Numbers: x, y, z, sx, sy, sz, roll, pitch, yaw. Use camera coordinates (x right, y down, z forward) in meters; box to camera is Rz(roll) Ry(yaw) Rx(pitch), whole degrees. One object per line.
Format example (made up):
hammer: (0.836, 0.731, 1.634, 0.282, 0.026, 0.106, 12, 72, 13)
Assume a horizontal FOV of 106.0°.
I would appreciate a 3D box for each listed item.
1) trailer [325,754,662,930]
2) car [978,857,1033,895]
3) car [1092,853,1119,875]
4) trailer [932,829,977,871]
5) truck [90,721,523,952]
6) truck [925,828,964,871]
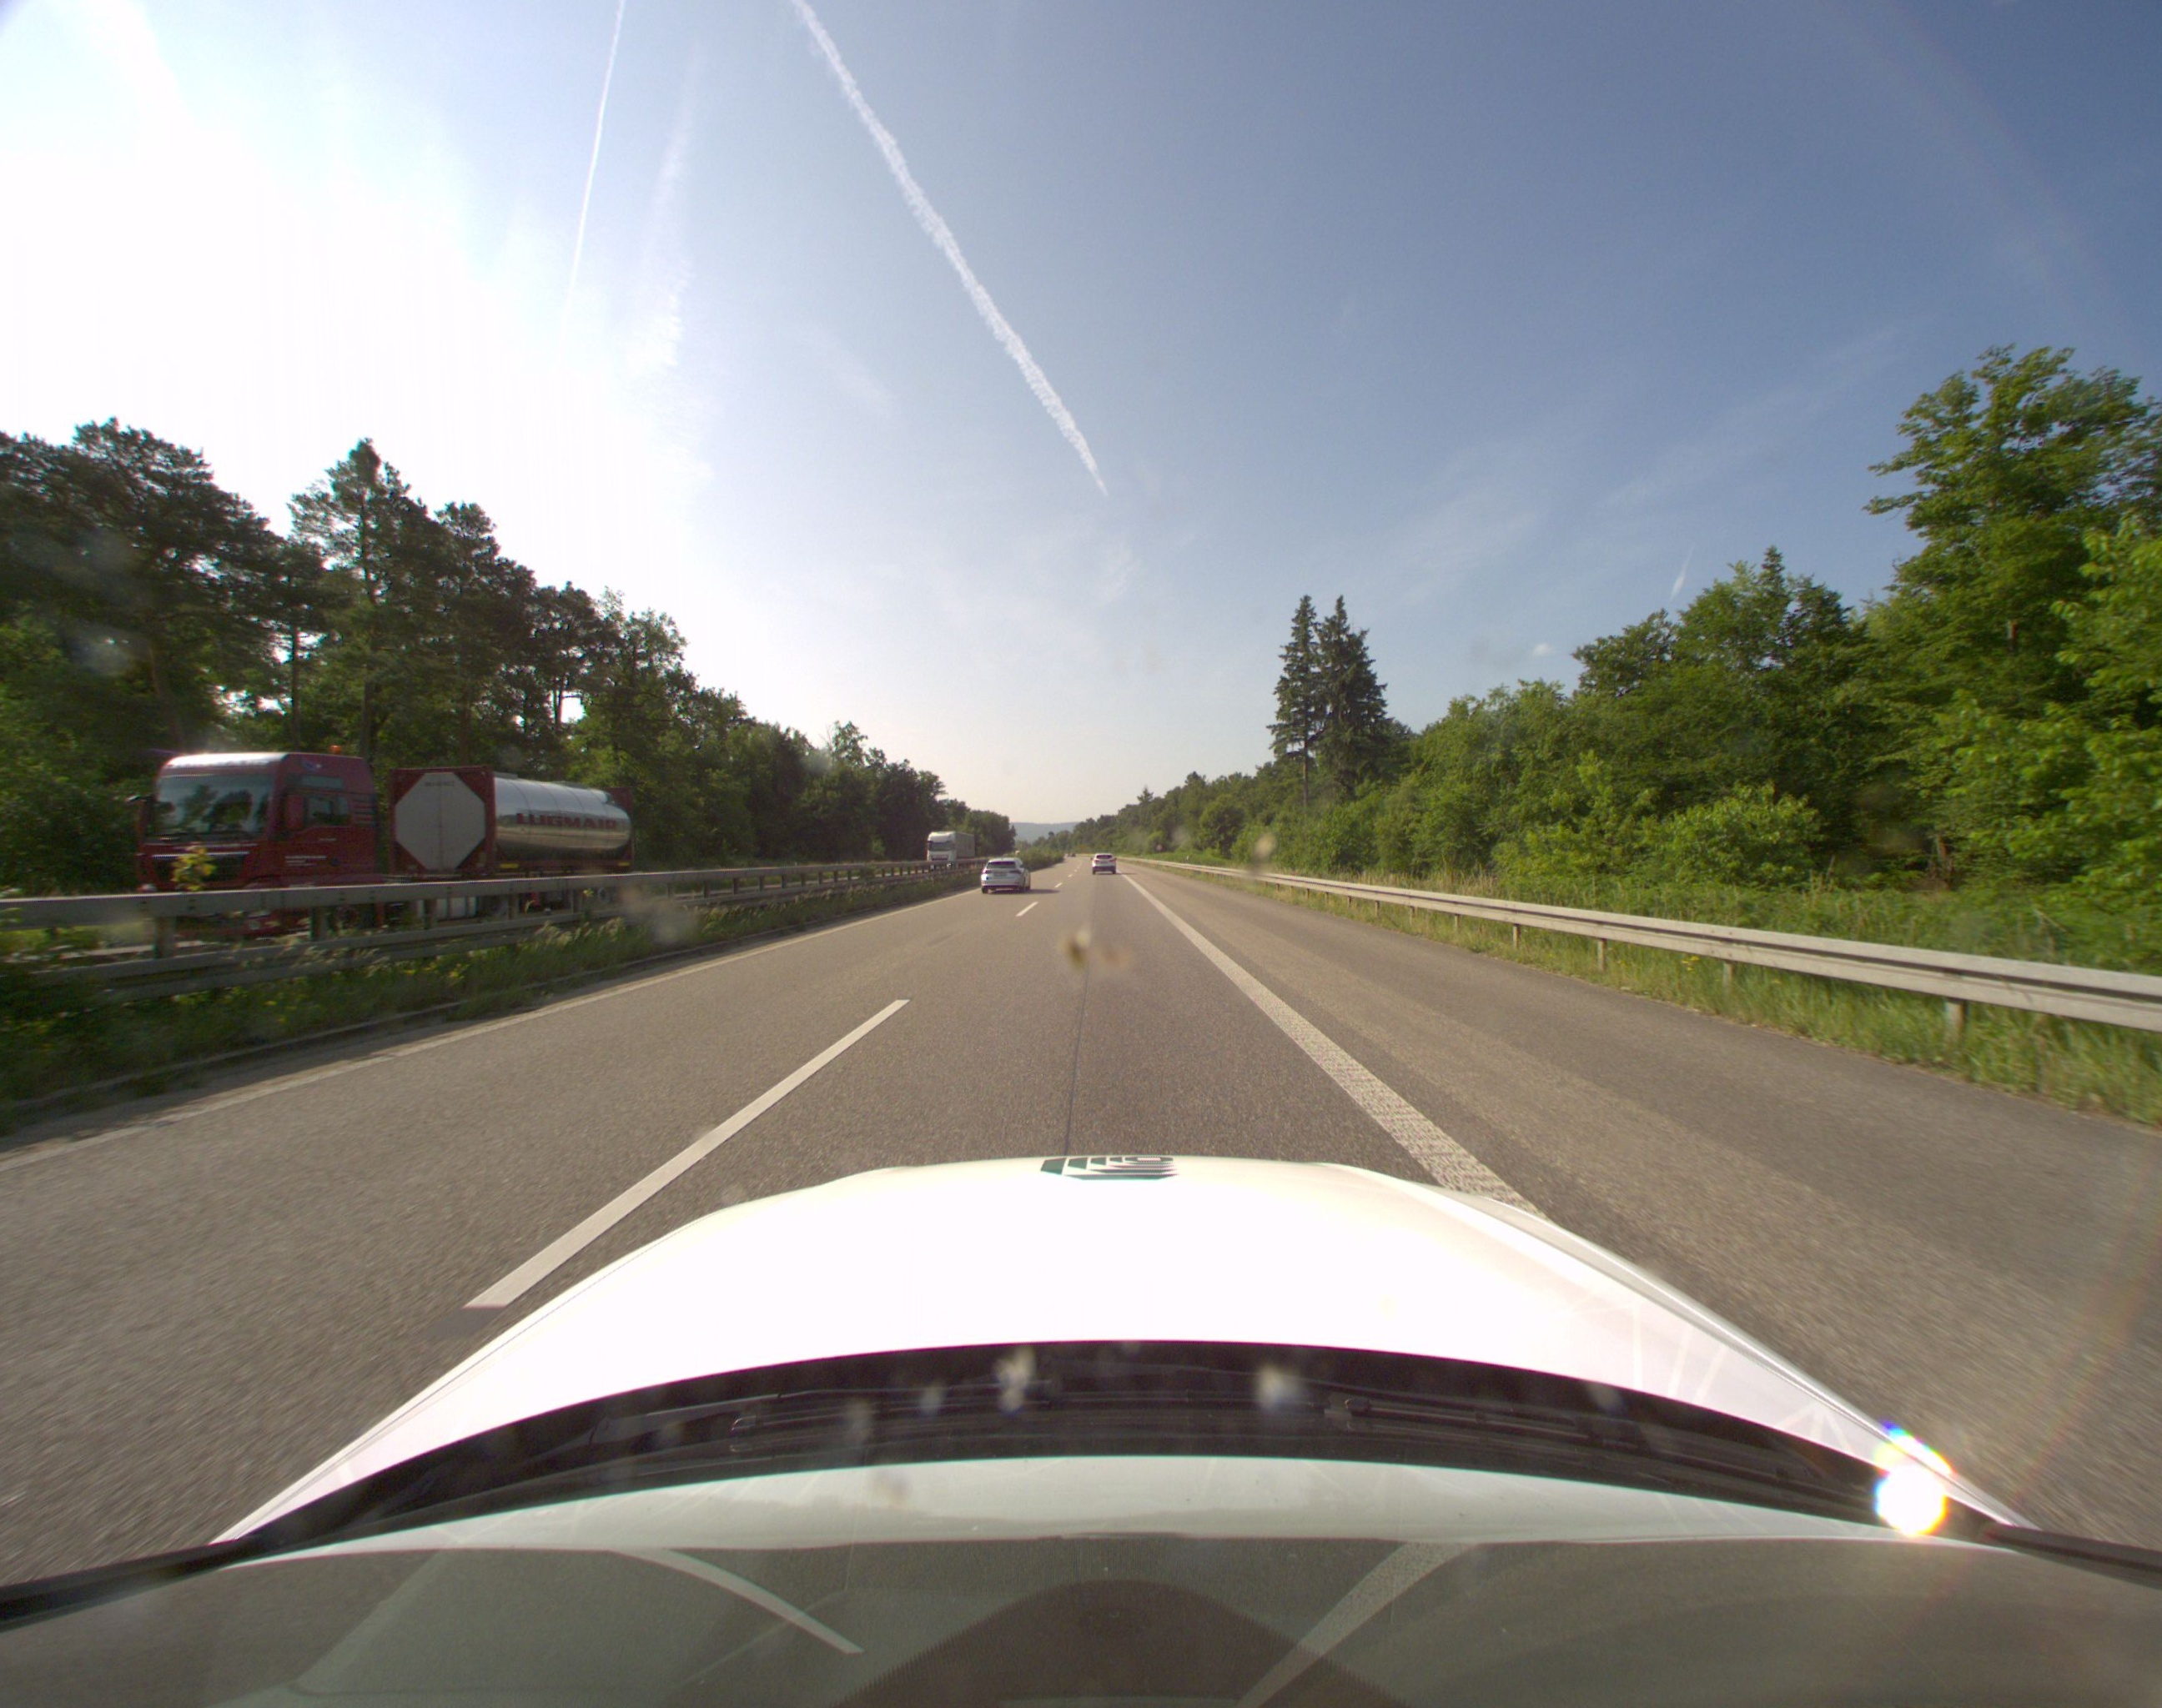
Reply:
trailer: (-15.707, -0.242, 22.984, 3.283, 4.039, 8.375, -1, 0, 1)
car: (-3.147, 0.876, 34.992, 1.786, 1.438, 5.279, -2, 0, 1)
car: (1.856, 0.747, 62.475, 1.868, 1.586, 3.998, 1, 0, -1)
trailer: (-13.871, -0.425, 90.598, 2.823, 4.208, 12.411, -2, 0, 0)
truck: (-15.828, -0.290, 17.518, 3.255, 4.039, 6.234, -1, -1, 1)
truck: (-13.921, -0.413, 83.434, 2.828, 4.196, 5.546, -2, 0, 0)
